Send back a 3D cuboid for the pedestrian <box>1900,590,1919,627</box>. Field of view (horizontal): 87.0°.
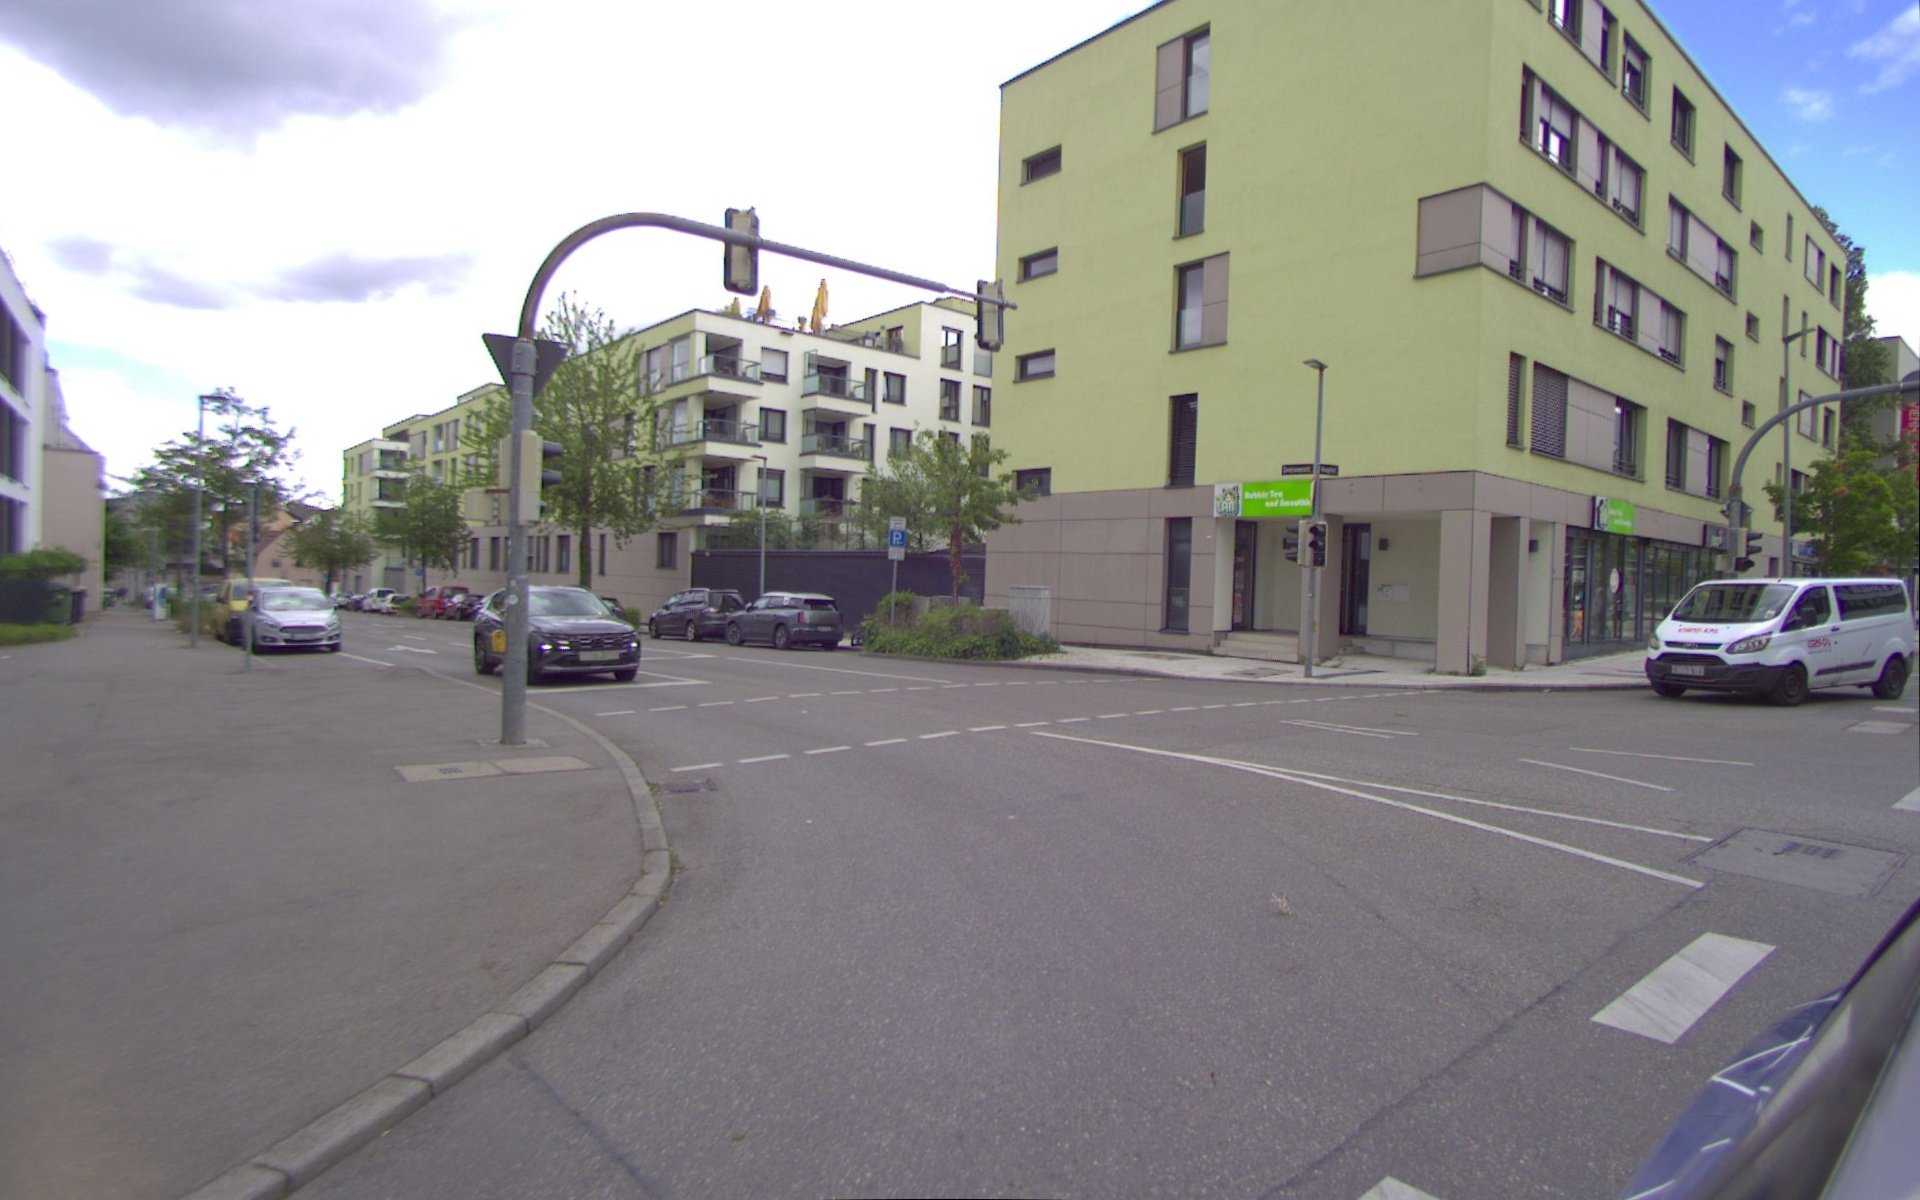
[{"bbox_3d":[42.229,0.382,44.729,0.790,1.603,0.870,1,1,-40],"label":"pedestrian"}]

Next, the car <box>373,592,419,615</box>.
[{"bbox_3d":[-38.550,0.256,69.106,1.935,1.514,4.418,1,0,-40],"label":"car"}]

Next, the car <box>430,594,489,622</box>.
[{"bbox_3d":[-27.786,0.426,56.147,1.935,1.514,4.418,1,0,-40],"label":"car"}]

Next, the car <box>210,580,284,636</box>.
[{"bbox_3d":[-24.793,0.262,35.135,1.776,1.817,4.419,1,0,-39],"label":"car"}]

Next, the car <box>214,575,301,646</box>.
[{"bbox_3d":[-21.028,0.284,30.234,1.776,1.949,4.627,1,0,-39],"label":"car"}]

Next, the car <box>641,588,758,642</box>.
[{"bbox_3d":[-8.710,0.466,33.632,1.936,1.682,4.415,1,0,-42],"label":"car"}]

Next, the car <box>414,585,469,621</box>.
[{"bbox_3d":[-30.629,0.175,59.703,1.935,2.003,4.418,1,0,-40],"label":"car"}]

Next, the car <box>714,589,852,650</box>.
[{"bbox_3d":[-5.234,0.535,29.579,1.936,1.636,4.415,1,0,-42],"label":"car"}]

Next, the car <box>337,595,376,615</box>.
[{"bbox_3d":[-47.130,0.382,78.953,1.935,1.514,4.418,1,0,-40],"label":"car"}]

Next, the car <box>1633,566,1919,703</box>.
[{"bbox_3d":[13.759,0.511,16.723,4.896,2.013,2.005,0,0,-23],"label":"car"}]

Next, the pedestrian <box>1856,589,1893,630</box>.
[{"bbox_3d":[36.823,0.383,40.763,0.998,1.603,0.949,1,1,-40],"label":"pedestrian"}]

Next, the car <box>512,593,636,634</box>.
[{"bbox_3d":[-14.949,0.500,39.187,4.372,1.514,1.955,0,0,22],"label":"car"}]

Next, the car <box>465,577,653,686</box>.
[{"bbox_3d":[-7.138,0.484,17.789,1.917,1.680,4.096,1,0,-39],"label":"car"}]

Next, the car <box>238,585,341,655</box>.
[{"bbox_3d":[-17.327,0.472,26.057,1.776,1.651,4.419,1,0,-39],"label":"car"}]

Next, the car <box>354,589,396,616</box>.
[{"bbox_3d":[-42.837,0.173,74.077,1.935,1.952,4.418,1,0,-40],"label":"car"}]
